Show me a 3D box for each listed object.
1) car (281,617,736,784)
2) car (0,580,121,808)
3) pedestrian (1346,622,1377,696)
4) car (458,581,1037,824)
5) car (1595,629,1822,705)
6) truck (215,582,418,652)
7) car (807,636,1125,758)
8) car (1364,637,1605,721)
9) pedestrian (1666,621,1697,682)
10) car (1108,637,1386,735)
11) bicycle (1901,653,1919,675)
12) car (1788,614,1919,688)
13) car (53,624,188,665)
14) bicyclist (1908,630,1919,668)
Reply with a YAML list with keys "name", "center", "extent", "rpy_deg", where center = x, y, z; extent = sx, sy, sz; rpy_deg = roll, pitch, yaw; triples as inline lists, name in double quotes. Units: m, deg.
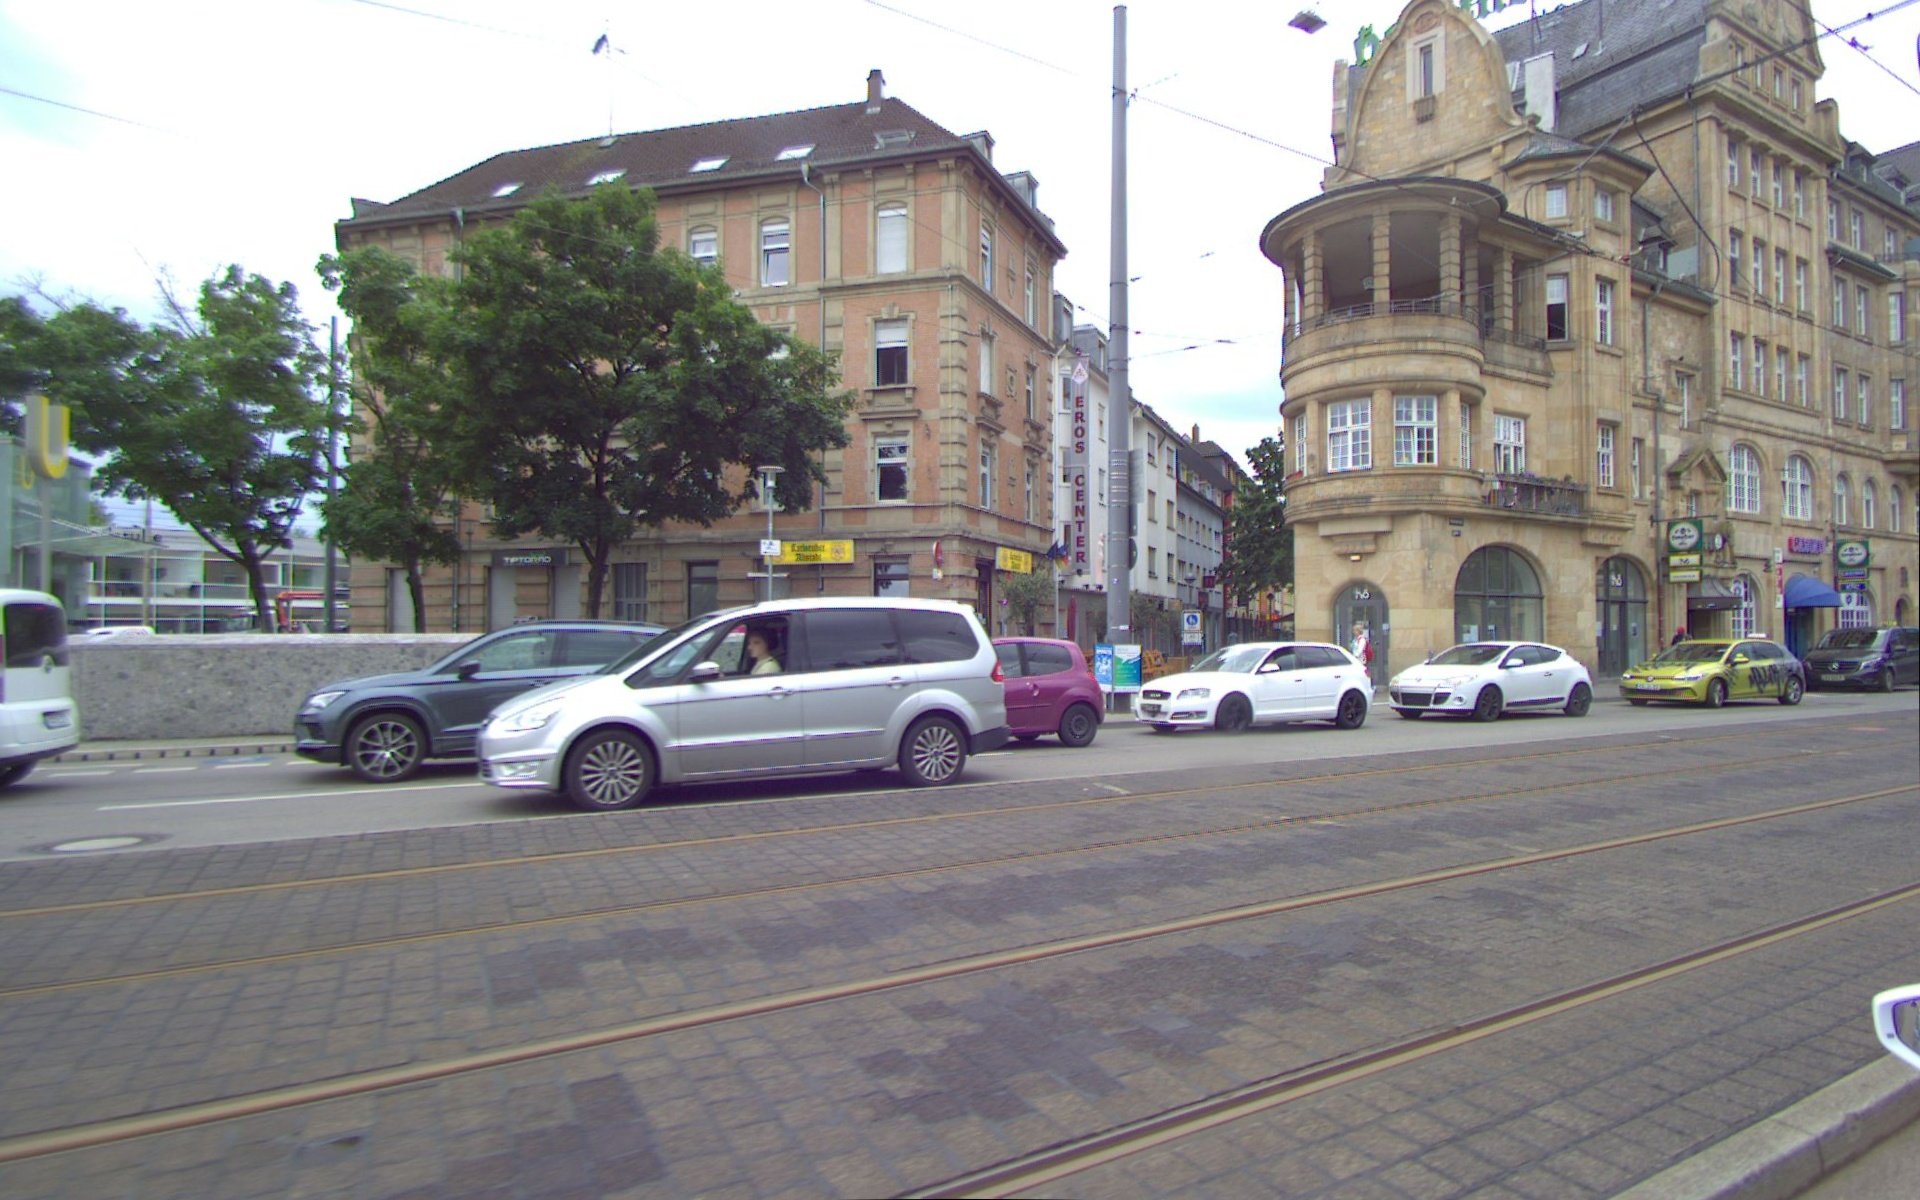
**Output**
- name: "car"
  center: [-4.806, 1.026, 11.163]
  extent: [4.244, 1.554, 1.858]
  rpy_deg: [1, -4, -25]
- name: "car"
  center: [-10.563, 0.793, 8.438]
  extent: [5.032, 1.941, 1.858]
  rpy_deg: [1, -2, -25]
- name: "pedestrian"
  center: [9.618, 1.393, 24.060]
  extent: [0.524, 1.742, 0.630]
  rpy_deg: [-1, -2, 39]
- name: "car"
  center: [-1.831, 0.808, 9.153]
  extent: [4.849, 1.728, 1.855]
  rpy_deg: [1, -3, -29]
- name: "car"
  center: [16.413, 1.428, 22.056]
  extent: [4.360, 1.530, 1.897]
  rpy_deg: [0, -3, -20]
- name: "truck"
  center: [-35.455, 1.050, 55.861]
  extent: [2.753, 3.596, 9.208]
  rpy_deg: [0, -2, 30]
- name: "car"
  center: [0.083, 1.217, 13.436]
  extent: [3.844, 1.417, 1.857]
  rpy_deg: [1, -4, -27]
- name: "car"
  center: [9.767, 1.396, 18.699]
  extent: [4.203, 1.398, 1.920]
  rpy_deg: [1, -2, -27]
- name: "pedestrian"
  center: [21.175, 1.494, 29.469]
  extent: [0.757, 1.750, 0.492]
  rpy_deg: [1, -2, -33]
- name: "car"
  center: [4.649, 1.328, 16.139]
  extent: [4.309, 1.397, 1.740]
  rpy_deg: [1, -5, -29]
- name: "bicycle"
  center: [34.293, 2.266, 35.735]
  extent: [2.224, 0.755, 0.579]
  rpy_deg: [1, -2, -30]
- name: "car"
  center: [26.395, 1.475, 29.229]
  extent: [5.038, 2.002, 1.890]
  rpy_deg: [1, -4, -31]
- name: "car"
  center: [-39.980, 2.086, 47.945]
  extent: [1.963, 1.863, 4.518]
  rpy_deg: [-1, -2, 27]
- name: "bicyclist"
  center: [34.357, 1.741, 35.787]
  extent: [0.960, 1.341, 0.608]
  rpy_deg: [1, -2, -30]
